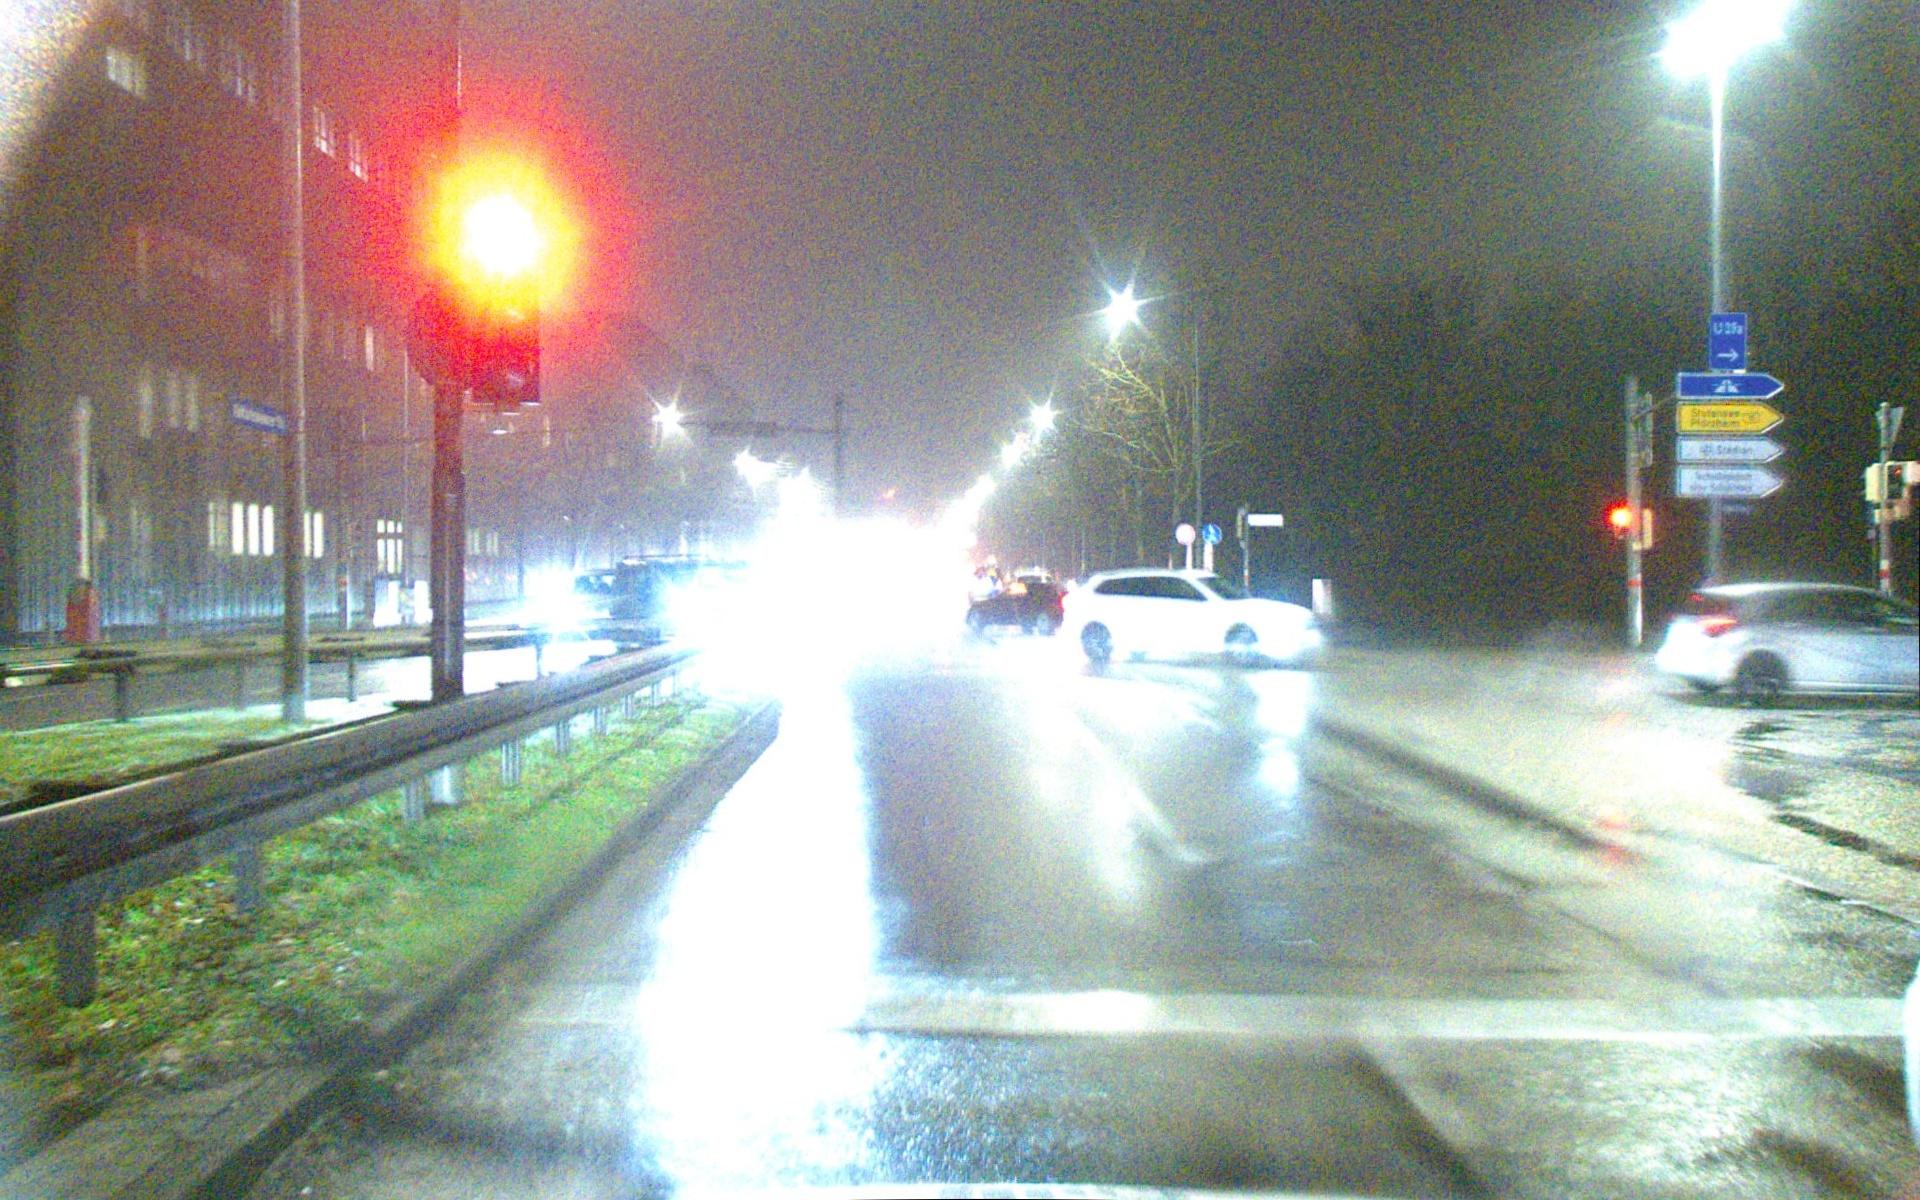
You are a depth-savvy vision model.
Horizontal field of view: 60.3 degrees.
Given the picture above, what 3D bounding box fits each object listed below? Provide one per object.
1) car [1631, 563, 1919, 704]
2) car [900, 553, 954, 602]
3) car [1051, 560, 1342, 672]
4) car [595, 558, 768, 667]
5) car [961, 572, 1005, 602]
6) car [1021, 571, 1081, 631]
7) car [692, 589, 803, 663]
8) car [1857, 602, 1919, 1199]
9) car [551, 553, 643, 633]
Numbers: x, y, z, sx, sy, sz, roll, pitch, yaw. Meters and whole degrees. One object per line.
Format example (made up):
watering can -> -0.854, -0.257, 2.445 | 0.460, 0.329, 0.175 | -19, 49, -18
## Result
car -> 10.867, 0.402, 20.581 | 4.321, 1.678, 1.838 | 0, 0, 4
car -> -1.601, -1.019, 78.709 | 2.393, 2.232, 5.075 | 0, 0, -4
car -> 3.825, 0.244, 26.985 | 4.370, 1.700, 1.835 | 0, 0, 34
car -> -4.945, 0.208, 28.985 | 1.701, 1.764, 3.722 | 0, 0, -32
car -> 1.210, -0.664, 88.116 | 2.050, 1.572, 4.304 | 0, 0, -4
car -> 3.214, 0.036, 59.163 | 1.996, 2.049, 4.307 | 0, 0, 1
car -> -5.124, 0.585, 39.403 | 1.872, 1.646, 4.492 | 0, 0, -18
car -> 3.160, 0.721, 1.948 | 1.685, 1.472, 4.381 | -2, 0, -2
car -> -8.269, -0.147, 37.826 | 1.918, 1.702, 4.404 | 0, 0, -12
